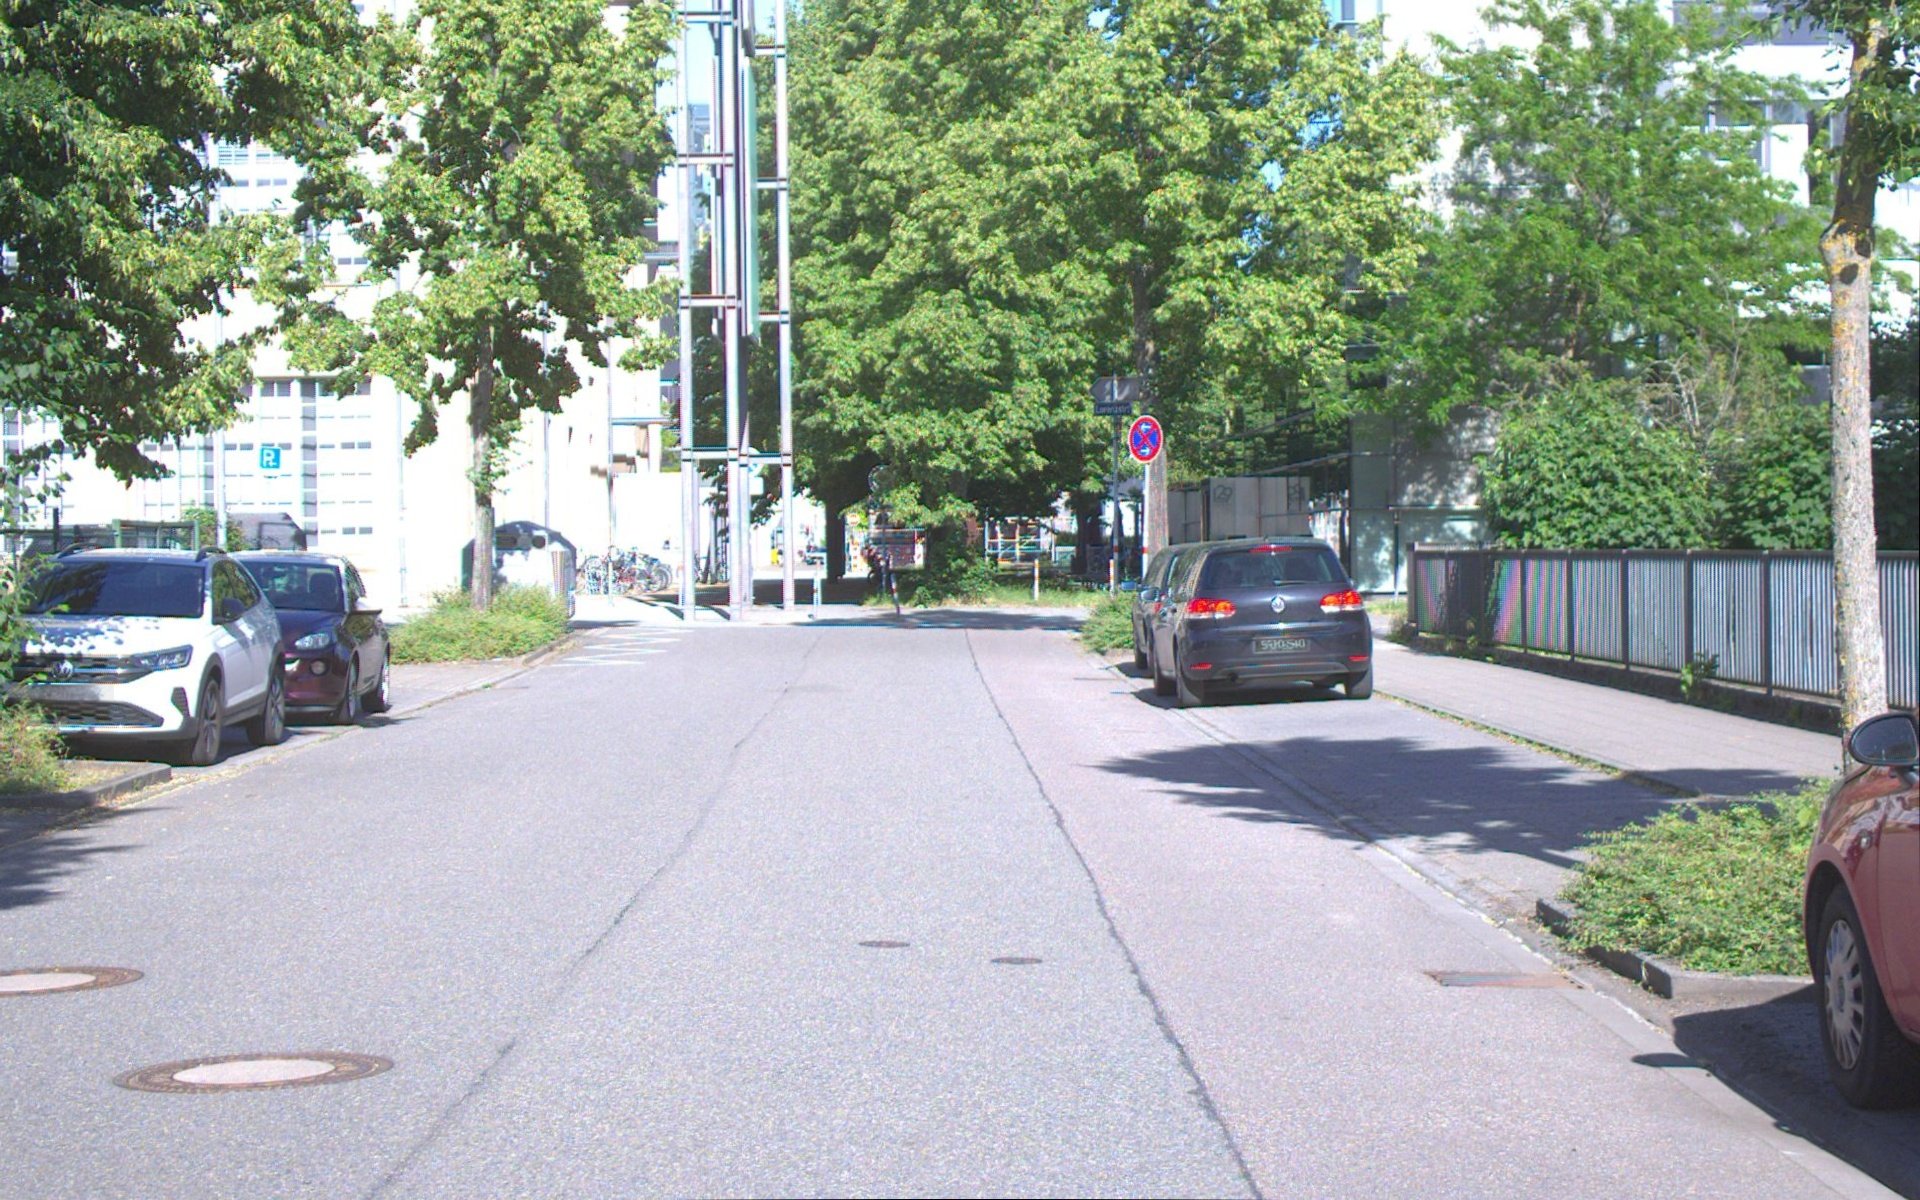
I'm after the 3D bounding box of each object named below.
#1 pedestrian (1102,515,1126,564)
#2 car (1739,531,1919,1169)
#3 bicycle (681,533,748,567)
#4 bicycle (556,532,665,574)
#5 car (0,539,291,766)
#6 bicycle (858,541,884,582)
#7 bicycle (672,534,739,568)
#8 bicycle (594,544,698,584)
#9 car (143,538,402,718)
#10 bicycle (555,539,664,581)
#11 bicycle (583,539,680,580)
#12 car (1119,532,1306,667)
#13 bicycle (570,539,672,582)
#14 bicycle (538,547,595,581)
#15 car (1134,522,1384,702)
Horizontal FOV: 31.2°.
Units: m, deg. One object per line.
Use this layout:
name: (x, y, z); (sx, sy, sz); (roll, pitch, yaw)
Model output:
pedestrian: (4.923, -1.945, 109.651); (0.717, 1.545, 0.690); (-1, 1, 6)
car: (3.101, 0.581, 7.757); (1.675, 1.499, 3.847); (-2, 1, -2)
bicycle: (-7.831, -1.598, 109.642); (2.058, 1.062, 0.506); (-1, 1, 2)
bicycle: (-9.236, -1.243, 90.881); (2.800, 1.059, 0.719); (-1, 1, 0)
car: (-6.119, 0.314, 24.798); (1.840, 1.469, 4.002); (1, 1, -1)
bicycle: (-2.672, -1.148, 103.137); (0.619, 1.193, 2.132); (-1, 2, -6)
bicycle: (-8.053, -1.545, 108.811); (2.058, 1.062, 0.506); (-1, 1, 2)
bicycle: (-8.569, -0.986, 93.791); (2.800, 1.059, 0.719); (-1, 1, -5)
car: (-6.017, 0.202, 30.432); (1.717, 1.469, 3.547); (1, 1, -3)
bicycle: (-9.084, -1.047, 89.265); (2.800, 1.059, 0.719); (-1, 1, -5)
bicycle: (-9.311, -1.155, 97.584); (2.731, 1.146, 0.719); (-1, 1, -5)
car: (2.766, -0.035, 38.447); (1.746, 1.417, 4.424); (0, 1, 0)
bicycle: (-9.473, -1.101, 96.164); (2.800, 1.147, 0.719); (-1, 1, -5)
bicycle: (-9.865, -0.902, 86.261); (0.778, 0.789, 2.883); (0, 2, 7)
car: (2.697, 0.056, 31.842); (1.783, 1.510, 4.001); (-1, 2, -2)
